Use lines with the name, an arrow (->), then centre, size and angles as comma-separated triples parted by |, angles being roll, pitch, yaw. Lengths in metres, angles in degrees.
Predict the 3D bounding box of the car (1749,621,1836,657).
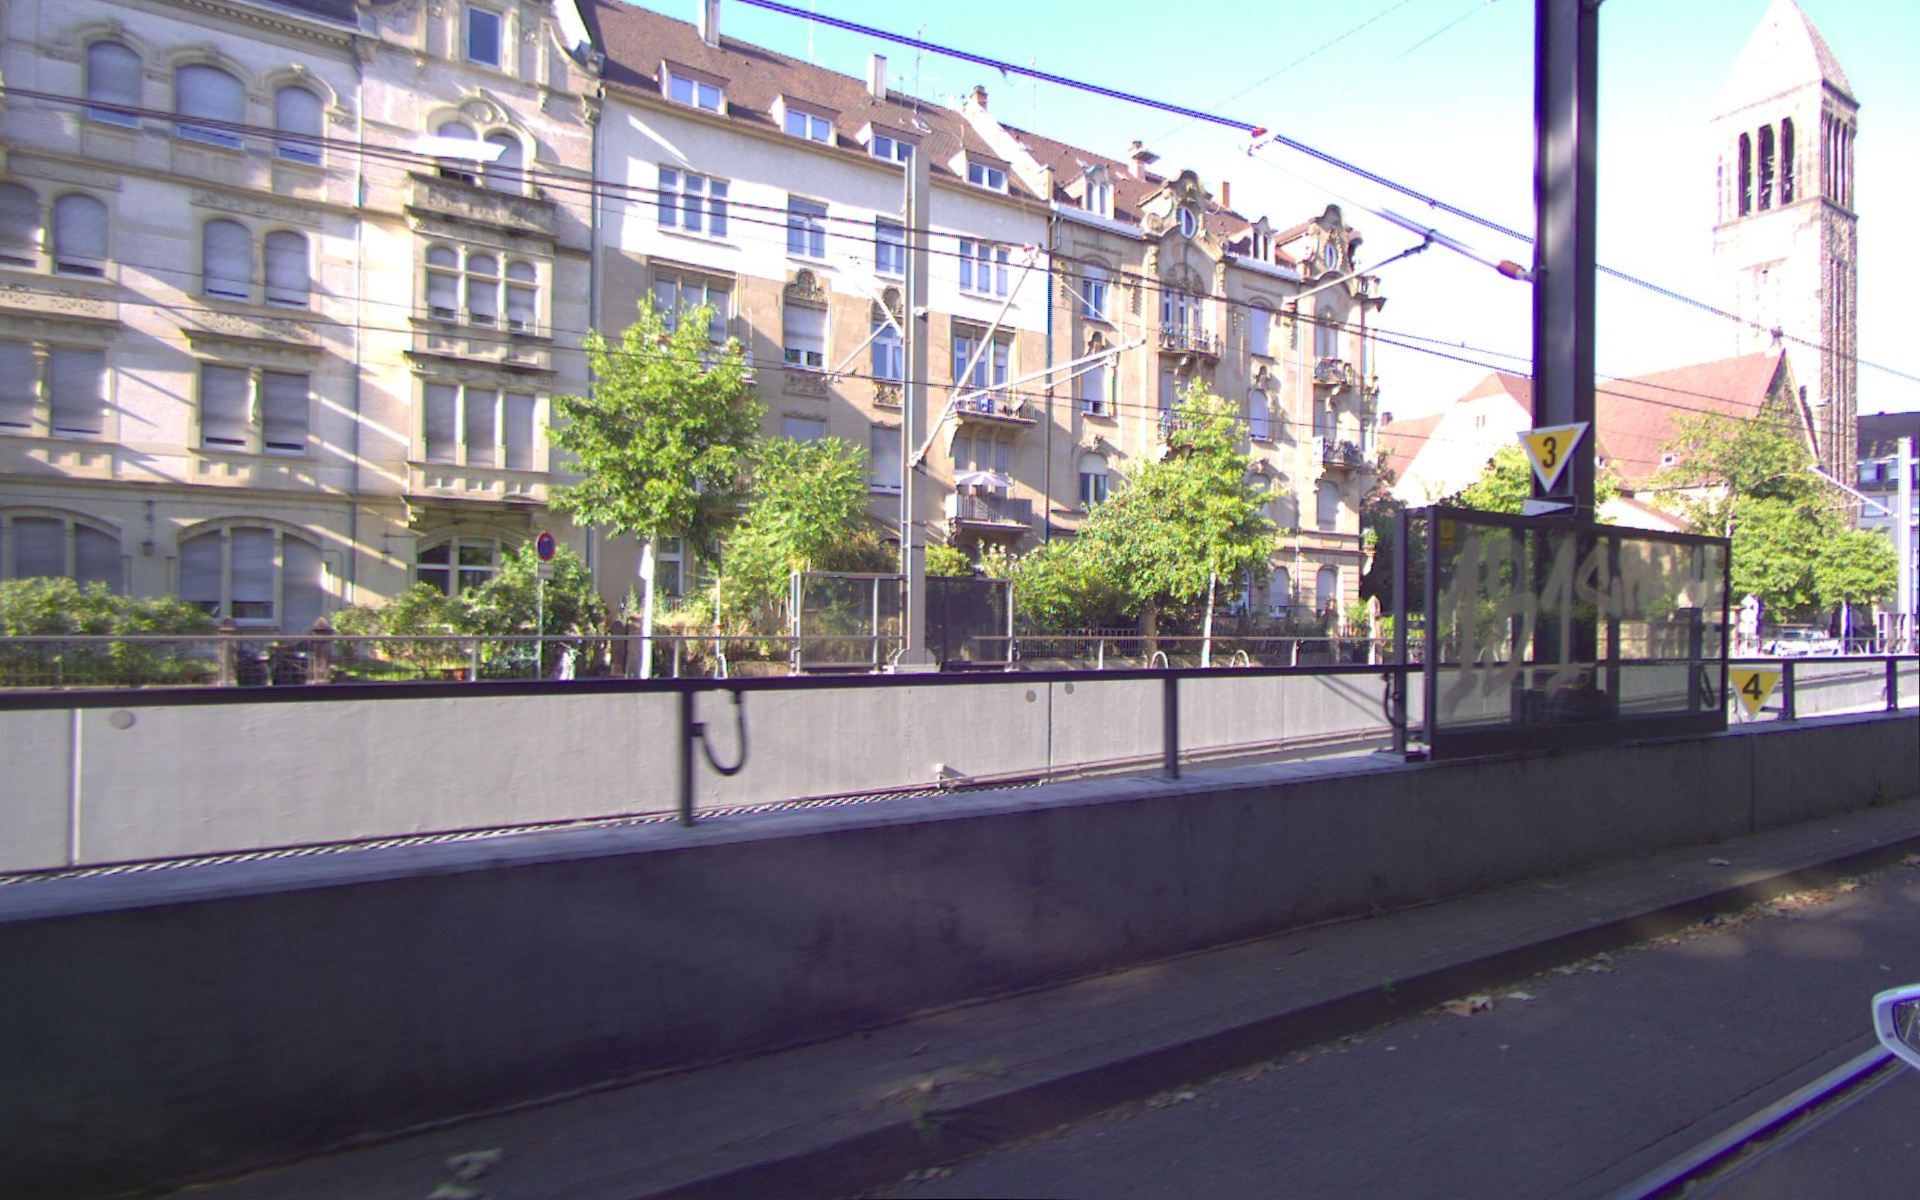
car -> 40.117, 1.866, 48.398 | 4.455, 1.576, 1.708 | 1, 1, -29

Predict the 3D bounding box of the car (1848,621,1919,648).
car -> 65.462, 2.418, 70.754 | 1.871, 1.651, 3.971 | 1, 1, -28

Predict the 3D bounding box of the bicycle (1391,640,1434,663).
bicycle -> 17.196, 1.950, 38.157 | 1.864, 0.811, 0.414 | 1, 1, -28

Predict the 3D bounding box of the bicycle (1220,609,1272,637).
bicycle -> 10.946, 0.873, 38.416 | 2.084, 1.032, 0.503 | 1, 1, -27

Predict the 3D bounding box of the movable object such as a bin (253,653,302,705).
movable object such as a bin -> -13.509, 1.545, 19.873 | 0.776, 0.932, 0.890 | 1, 1, -36

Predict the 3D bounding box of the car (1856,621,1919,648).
car -> 67.690, 2.475, 72.617 | 1.871, 1.780, 3.971 | 1, 1, -28

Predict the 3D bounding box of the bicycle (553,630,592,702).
bicycle -> -7.452, 1.236, 19.303 | 0.591, 1.296, 1.726 | 1, -1, -24

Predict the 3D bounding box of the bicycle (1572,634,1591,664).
bicycle -> 23.720, 1.858, 38.323 | 0.479, 1.036, 1.887 | 2, 1, 35
